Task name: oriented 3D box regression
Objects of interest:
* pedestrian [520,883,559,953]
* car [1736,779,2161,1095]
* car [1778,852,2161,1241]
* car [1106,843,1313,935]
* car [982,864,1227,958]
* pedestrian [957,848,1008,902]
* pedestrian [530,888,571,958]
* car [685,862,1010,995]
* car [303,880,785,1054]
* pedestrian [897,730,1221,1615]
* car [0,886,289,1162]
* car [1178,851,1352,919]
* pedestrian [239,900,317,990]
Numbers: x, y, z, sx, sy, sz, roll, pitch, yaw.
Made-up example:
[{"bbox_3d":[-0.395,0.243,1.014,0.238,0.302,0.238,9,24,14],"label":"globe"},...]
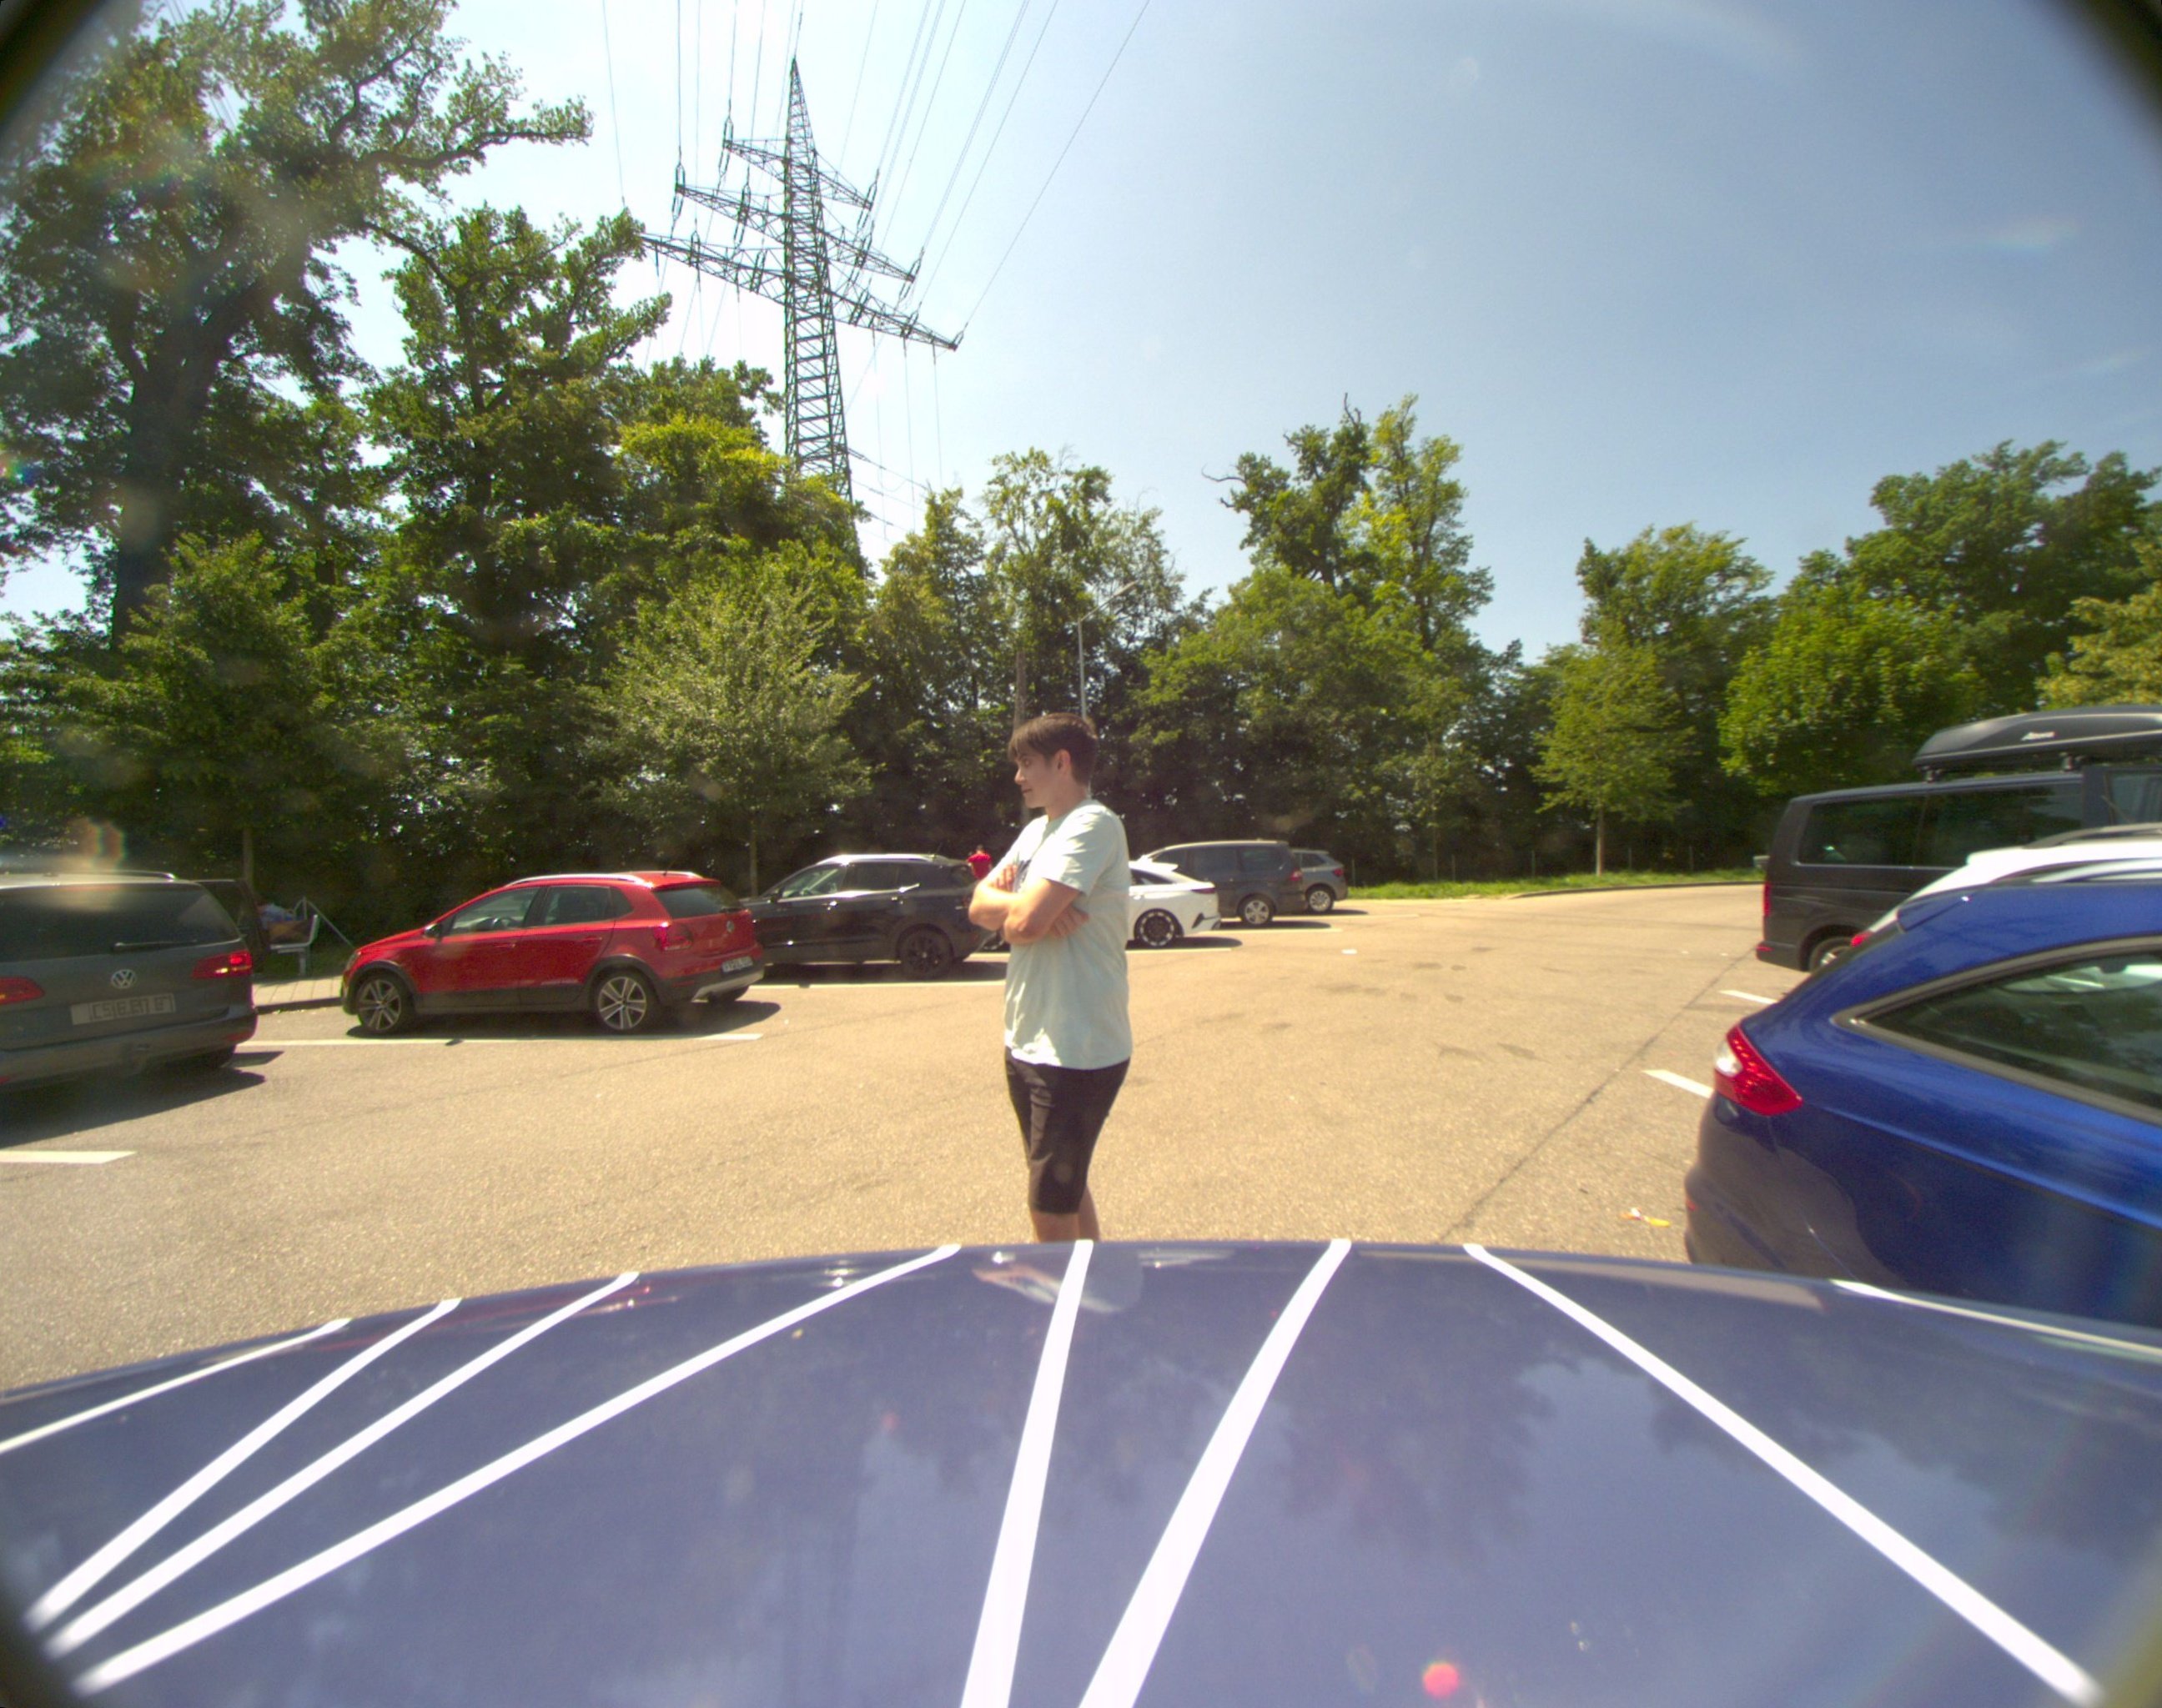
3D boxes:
[{"bbox_3d":[-10.938,1.285,15.361,0.490,1.367,0.506,-2,0,41],"label":"pedestrian"},{"bbox_3d":[7.320,0.457,5.041,2.048,1.850,4.430,-2,-1,-1],"label":"car"},{"bbox_3d":[4.792,0.703,2.445,1.607,1.405,3.743,-2,-1,-1],"label":"car"},{"bbox_3d":[2.525,0.682,15.509,3.882,1.680,1.882,-1,0,5],"label":"car"},{"bbox_3d":[0.422,0.910,12.759,3.805,1.359,1.803,-1,1,5],"label":"car"},{"bbox_3d":[-2.426,0.521,18.809,0.890,1.292,0.865,-2,0,23],"label":"pedestrian"},{"bbox_3d":[-10.153,1.302,14.555,0.490,1.291,0.506,-2,0,41],"label":"pedestrian"},{"bbox_3d":[-2.993,0.941,10.310,3.806,1.538,1.759,-1,1,2],"label":"car"},{"bbox_3d":[-5.229,1.068,7.667,3.804,1.449,1.637,-1,1,7],"label":"car"},{"bbox_3d":[-0.116,0.665,2.043,0.634,1.857,0.747,-2,0,-17],"label":"pedestrian"},{"bbox_3d":[-8.330,1.099,5.460,3.950,1.581,1.753,-1,1,11],"label":"car"},{"bbox_3d":[4.272,0.709,18.133,3.805,1.468,1.743,-1,1,5],"label":"car"},{"bbox_3d":[-11.746,1.311,11.116,0.680,1.211,0.675,-4,-2,36],"label":"pedestrian"}]
